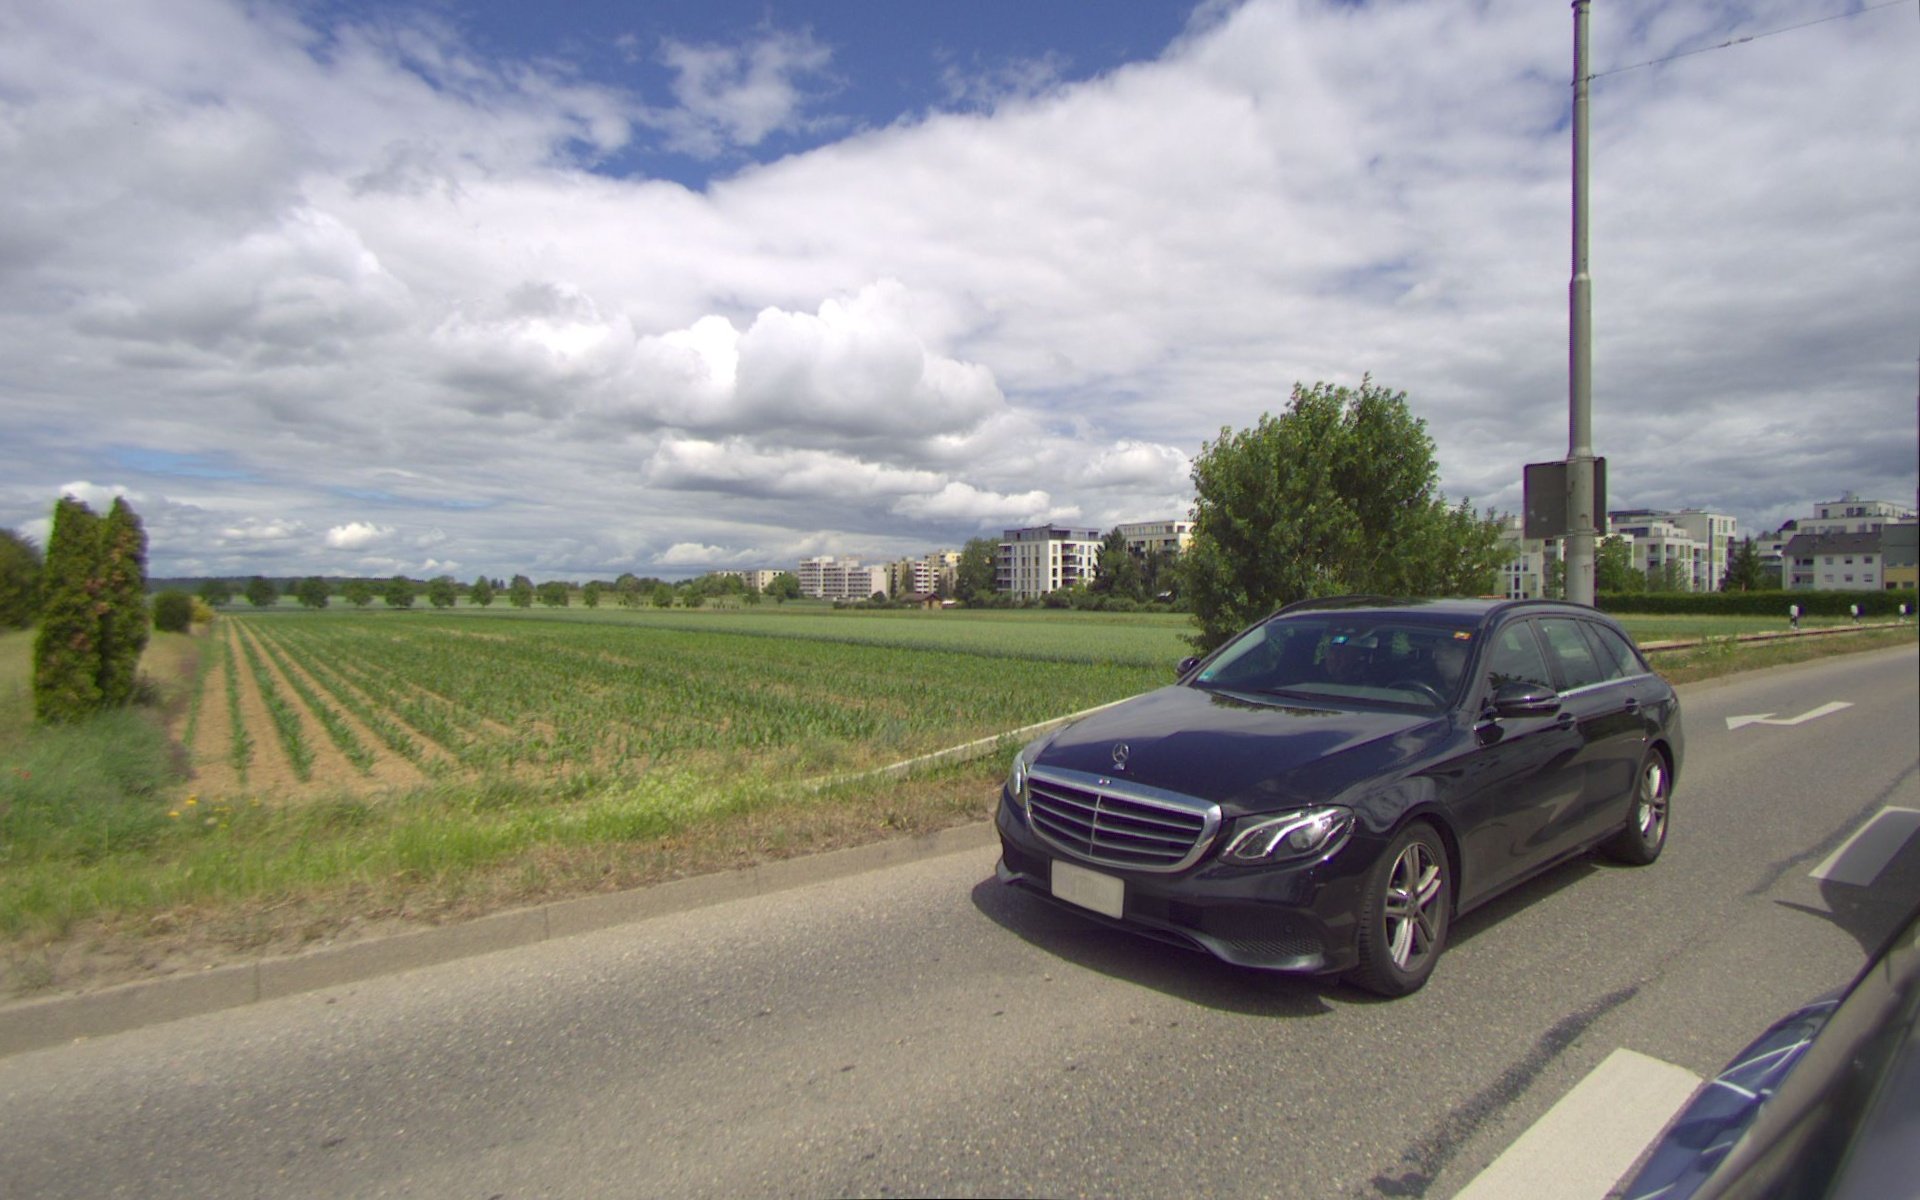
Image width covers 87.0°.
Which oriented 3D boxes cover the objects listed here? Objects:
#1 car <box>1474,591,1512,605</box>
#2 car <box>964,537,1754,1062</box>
[{"bbox_3d":[77.580,-0.324,147.348,1.964,2.039,4.436,-1,1,-39],"label":"car"},{"bbox_3d":[2.413,0.643,5.268,4.720,1.557,1.841,2,-1,-41],"label":"car"}]
